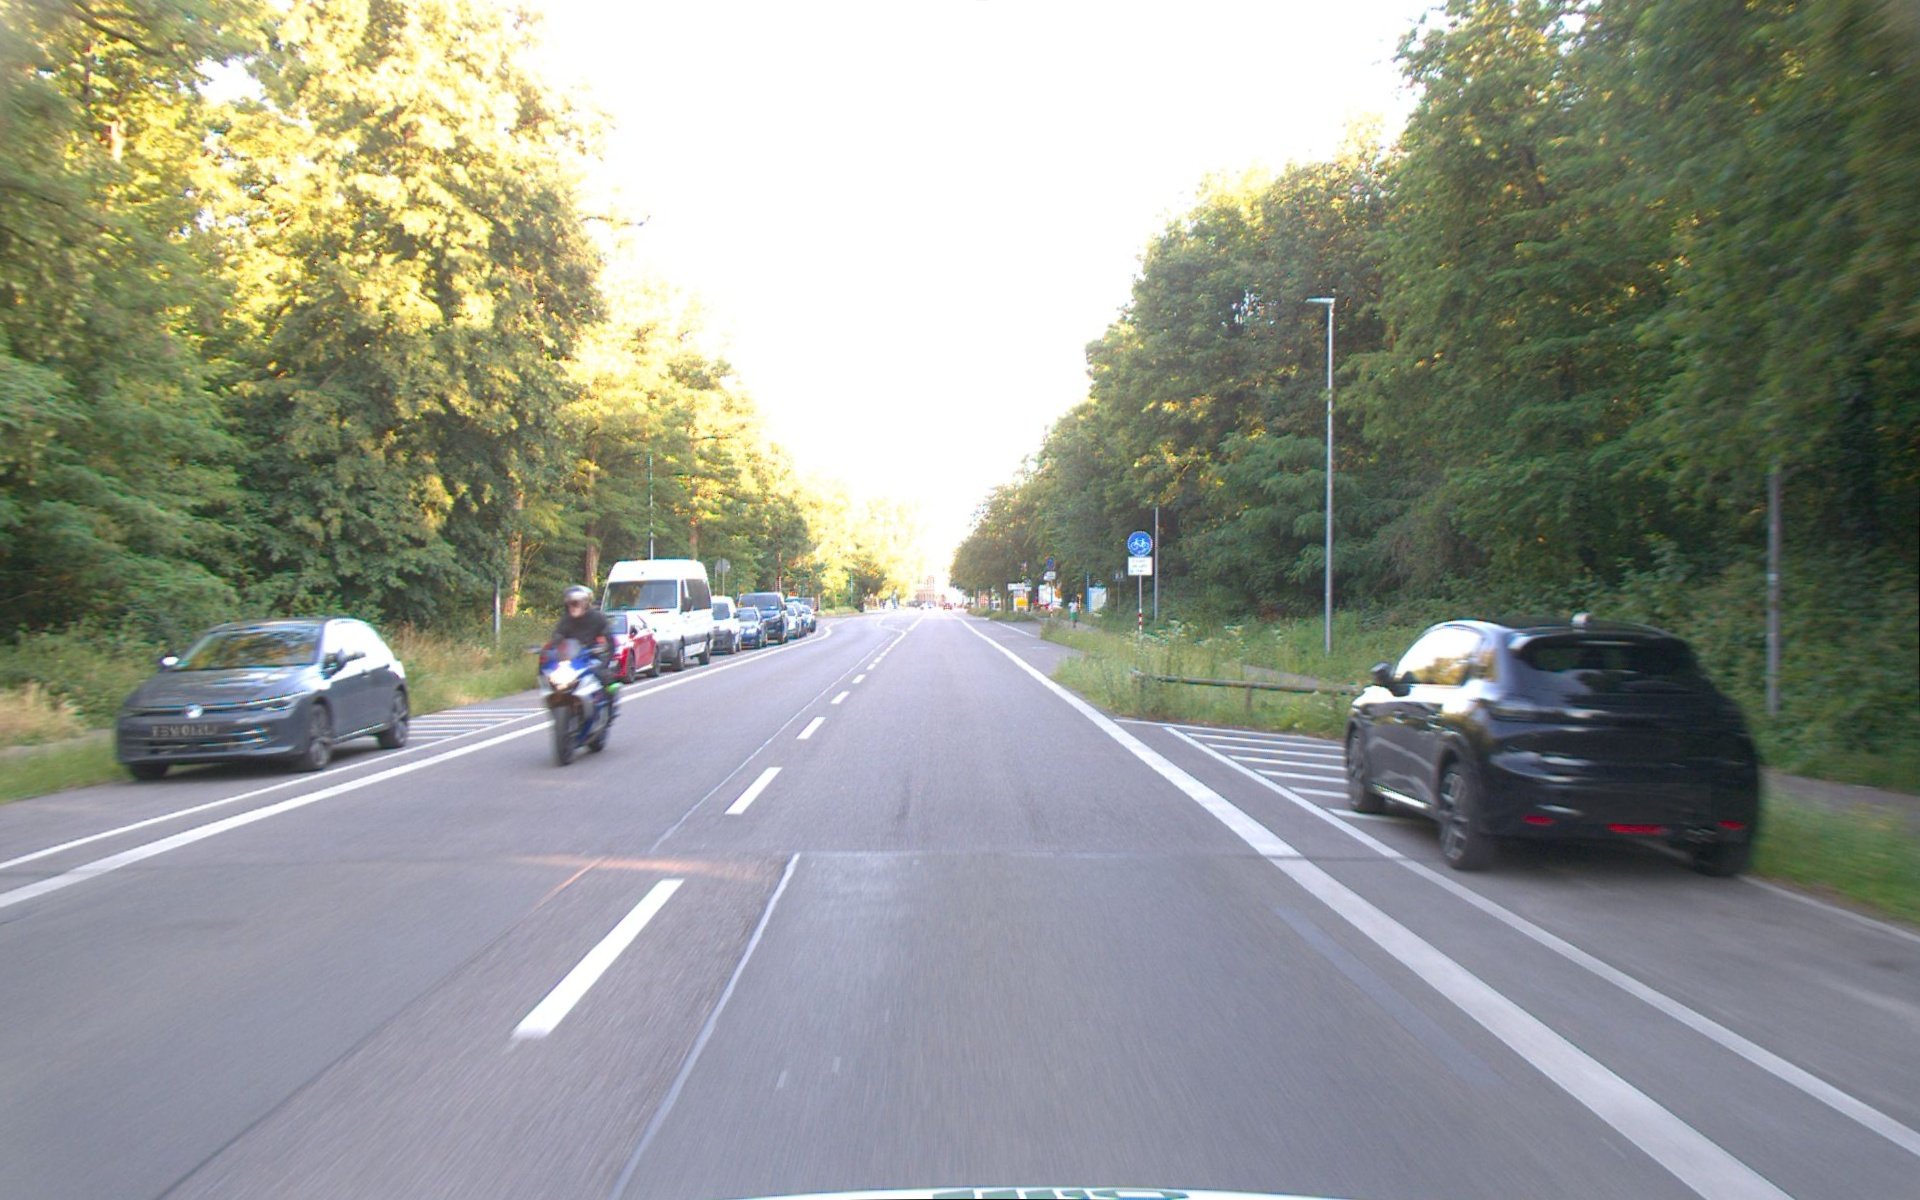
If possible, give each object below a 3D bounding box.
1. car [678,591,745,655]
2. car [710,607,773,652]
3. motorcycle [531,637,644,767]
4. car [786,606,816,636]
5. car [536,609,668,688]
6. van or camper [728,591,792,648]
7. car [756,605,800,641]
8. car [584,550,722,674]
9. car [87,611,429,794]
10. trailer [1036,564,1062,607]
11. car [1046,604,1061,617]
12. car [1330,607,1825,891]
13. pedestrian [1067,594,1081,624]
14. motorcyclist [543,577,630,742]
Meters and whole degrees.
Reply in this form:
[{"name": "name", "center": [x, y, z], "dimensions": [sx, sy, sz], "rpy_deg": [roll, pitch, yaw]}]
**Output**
[{"name": "car", "center": [-7.905, 0.759, 52.844], "dimensions": [1.654, 1.891, 4.383], "rpy_deg": [-3, -1, -4]}, {"name": "car", "center": [-7.614, 1.005, 57.894], "dimensions": [1.636, 1.458, 4.446], "rpy_deg": [-2, 0, -1]}, {"name": "motorcycle", "center": [-3.630, 0.960, 16.253], "dimensions": [0.598, 1.146, 1.962], "rpy_deg": [-1, 0, 2]}, {"name": "car", "center": [-8.985, 1.177, 93.250], "dimensions": [1.585, 1.561, 4.035], "rpy_deg": [-2, 0, -6]}, {"name": "car", "center": [-7.200, 0.937, 33.691], "dimensions": [1.681, 1.455, 4.387], "rpy_deg": [-1, 0, 0]}, {"name": "van or camper", "center": [-7.756, 0.732, 64.601], "dimensions": [1.962, 2.053, 5.458], "rpy_deg": [-3, 0, -3]}, {"name": "car", "center": [-8.129, 1.019, 74.154], "dimensions": [1.635, 1.527, 4.244], "rpy_deg": [-2, 0, -3]}, {"name": "car", "center": [-7.355, 0.268, 40.475], "dimensions": [2.037, 2.652, 7.087], "rpy_deg": [-3, 0, -1]}, {"name": "car", "center": [-6.900, 0.924, 16.786], "dimensions": [1.809, 1.488, 4.227], "rpy_deg": [-3, 0, -3]}, {"name": "trailer", "center": [11.704, -1.854, 218.522], "dimensions": [2.958, 5.558, 7.934], "rpy_deg": [0, 0, 0]}, {"name": "car", "center": [11.628, 1.351, 205.710], "dimensions": [1.733, 1.611, 4.820], "rpy_deg": [1, -1, 3]}, {"name": "car", "center": [3.753, 0.803, 10.877], "dimensions": [1.676, 1.470, 4.121], "rpy_deg": [1, 0, -1]}, {"name": "pedestrian", "center": [6.839, 0.563, 99.454], "dimensions": [0.821, 1.782, 0.726], "rpy_deg": [0, -1, 0]}, {"name": "motorcyclist", "center": [-3.638, 0.567, 16.159], "dimensions": [0.591, 1.556, 0.995], "rpy_deg": [-1, 0, 1]}]
